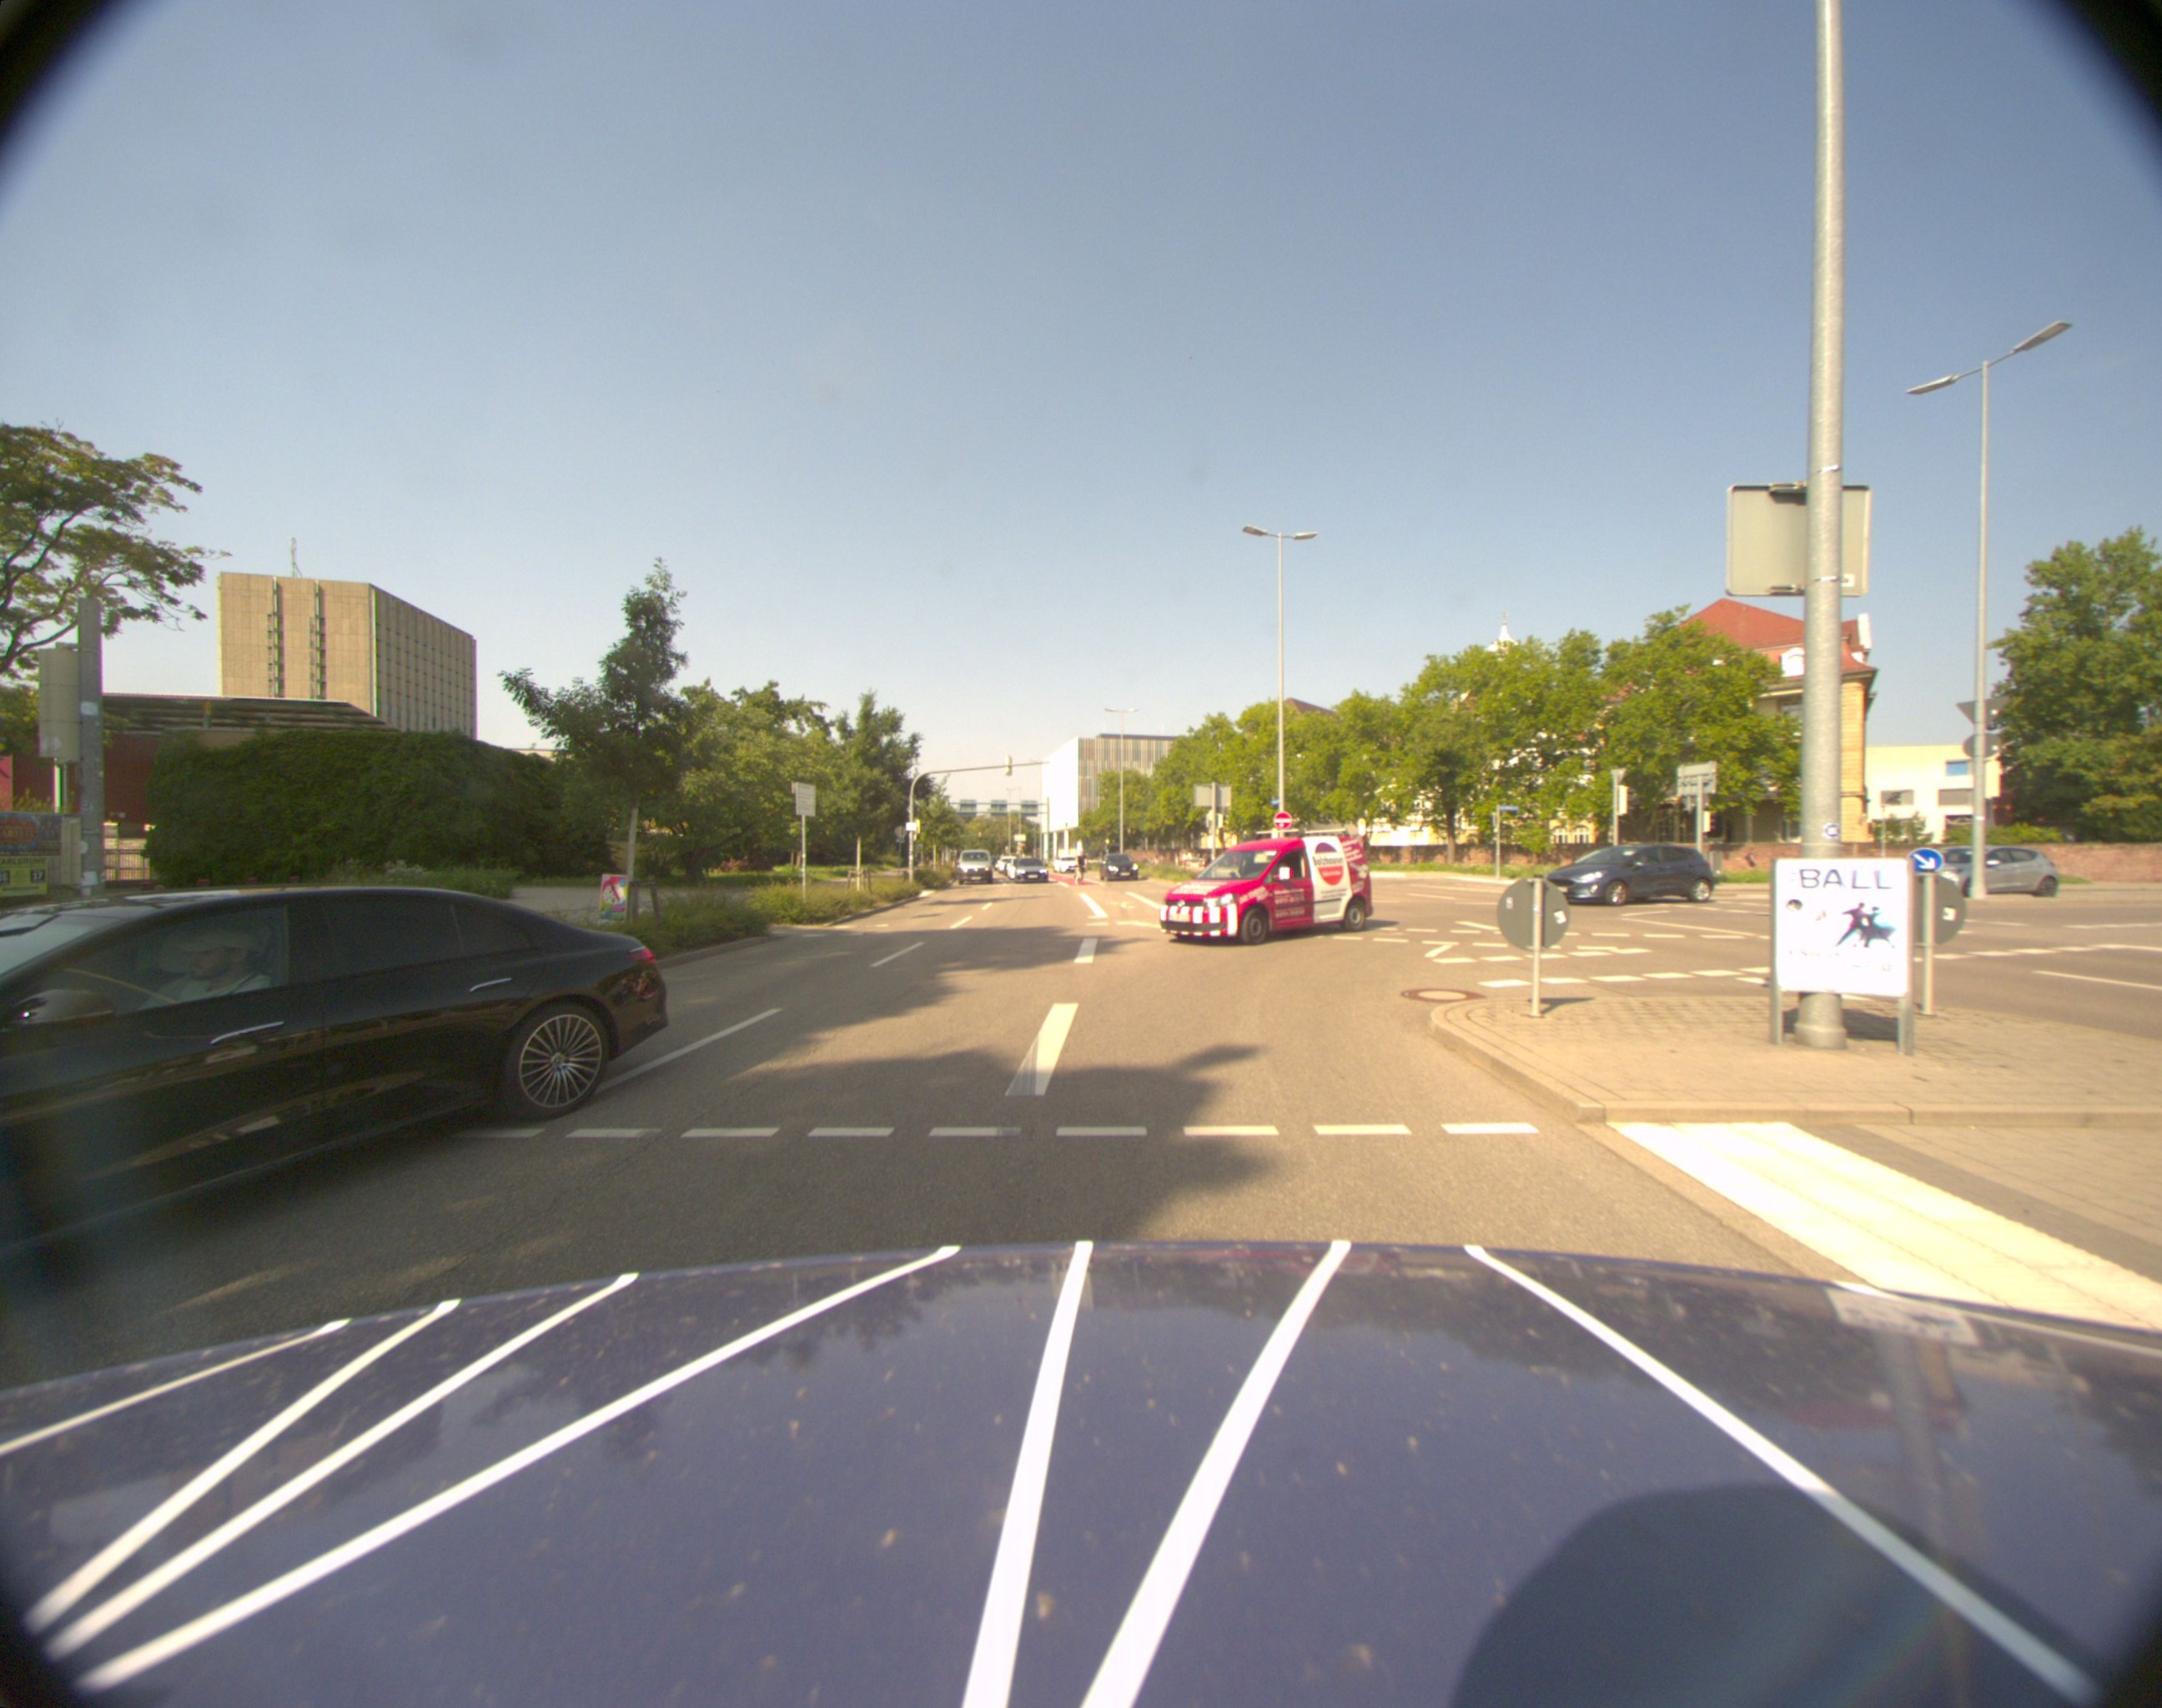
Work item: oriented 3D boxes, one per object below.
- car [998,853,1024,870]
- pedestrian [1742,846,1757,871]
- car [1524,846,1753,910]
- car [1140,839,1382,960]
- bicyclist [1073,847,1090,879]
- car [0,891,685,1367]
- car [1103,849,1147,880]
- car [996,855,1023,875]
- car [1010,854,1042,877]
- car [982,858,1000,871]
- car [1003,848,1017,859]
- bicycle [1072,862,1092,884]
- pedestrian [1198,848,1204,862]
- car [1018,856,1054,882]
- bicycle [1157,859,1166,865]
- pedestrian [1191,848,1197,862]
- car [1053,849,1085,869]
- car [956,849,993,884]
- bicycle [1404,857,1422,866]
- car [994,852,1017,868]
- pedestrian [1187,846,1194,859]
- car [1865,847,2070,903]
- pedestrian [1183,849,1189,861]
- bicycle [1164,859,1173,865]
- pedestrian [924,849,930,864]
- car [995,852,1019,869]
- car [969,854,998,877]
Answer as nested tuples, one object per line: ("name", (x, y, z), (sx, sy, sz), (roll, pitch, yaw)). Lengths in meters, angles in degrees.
("car", (-6.348, 0.637, 68.690), (1.933, 1.497, 4.290), (0, 0, -11))
("pedestrian", (45.110, 0.277, 51.254), (0.596, 1.673, 0.716), (-1, 1, -43))
("car", (13.321, 0.561, 18.325), (4.318, 1.419, 1.641), (-1, 0, 1))
("car", (3.276, 0.671, 13.469), (4.285, 1.808, 1.733), (-2, 1, -35))
("bicyclist", (0.023, 0.467, 39.140), (0.749, 1.626, 0.875), (0, 1, -8))
("car", (-4.394, 1.029, 3.385), (1.822, 1.431, 4.879), (-1, 0, 15))
("car", (2.441, 0.554, 43.366), (1.853, 1.569, 4.712), (-2, 0, -4))
("car", (-5.744, 0.876, 60.862), (2.000, 1.497, 4.432), (0, 0, -8))
("car", (-3.712, 0.746, 50.907), (1.999, 1.497, 4.433), (0, 0, -5))
("car", (-11.539, 1.292, 97.111), (1.933, 1.650, 4.290), (0, 0, -11))
("car", (-13.679, -0.044, 146.591), (1.921, 2.001, 3.995), (0, -2, -18))
("bicycle", (0.027, 0.957, 39.094), (0.770, 1.046, 1.773), (0, 1, -8))
("pedestrian", (14.629, 0.142, 92.588), (0.484, 1.641, 0.593), (1, -2, -28))
("car", (-2.657, 0.804, 43.598), (1.911, 1.392, 4.918), (0, 0, -5))
("bicycle", (11.146, 1.129, 105.238), (0.434, 0.830, 1.547), (0, 0, -24))
("pedestrian", (13.696, 0.089, 92.144), (0.520, 1.641, 0.593), (1, -2, -28))
("car", (-1.054, 0.442, 65.078), (1.933, 1.650, 4.290), (0, 0, -11))
("car", (-6.046, 0.663, 43.506), (1.846, 1.864, 4.971), (0, 0, -5))
("bicycle", (30.231, 0.662, 69.188), (0.435, 0.830, 1.546), (0, 0, -36))
("car", (-7.964, 0.621, 79.776), (1.933, 1.650, 4.290), (0, 0, -11))
("pedestrian", (13.690, -0.205, 95.032), (0.484, 1.641, 0.593), (1, -2, -28))
("car", (23.797, 0.532, 20.477), (3.859, 1.425, 1.720), (0, 0, -6))
("pedestrian", (13.071, 0.131, 94.469), (0.536, 1.562, 0.501), (-1, 1, -31))
("bicycle", (11.927, 1.094, 103.351), (0.434, 0.830, 1.547), (0, 0, -24))
("pedestrian", (-18.430, 0.308, 90.839), (0.623, 1.835, 0.641), (0, 1, -10))
("car", (-7.308, 0.588, 74.670), (1.933, 1.650, 4.290), (0, 0, -11))
("car", (-6.599, 0.723, 51.833), (1.810, 1.497, 3.966), (0, 0, -5))
